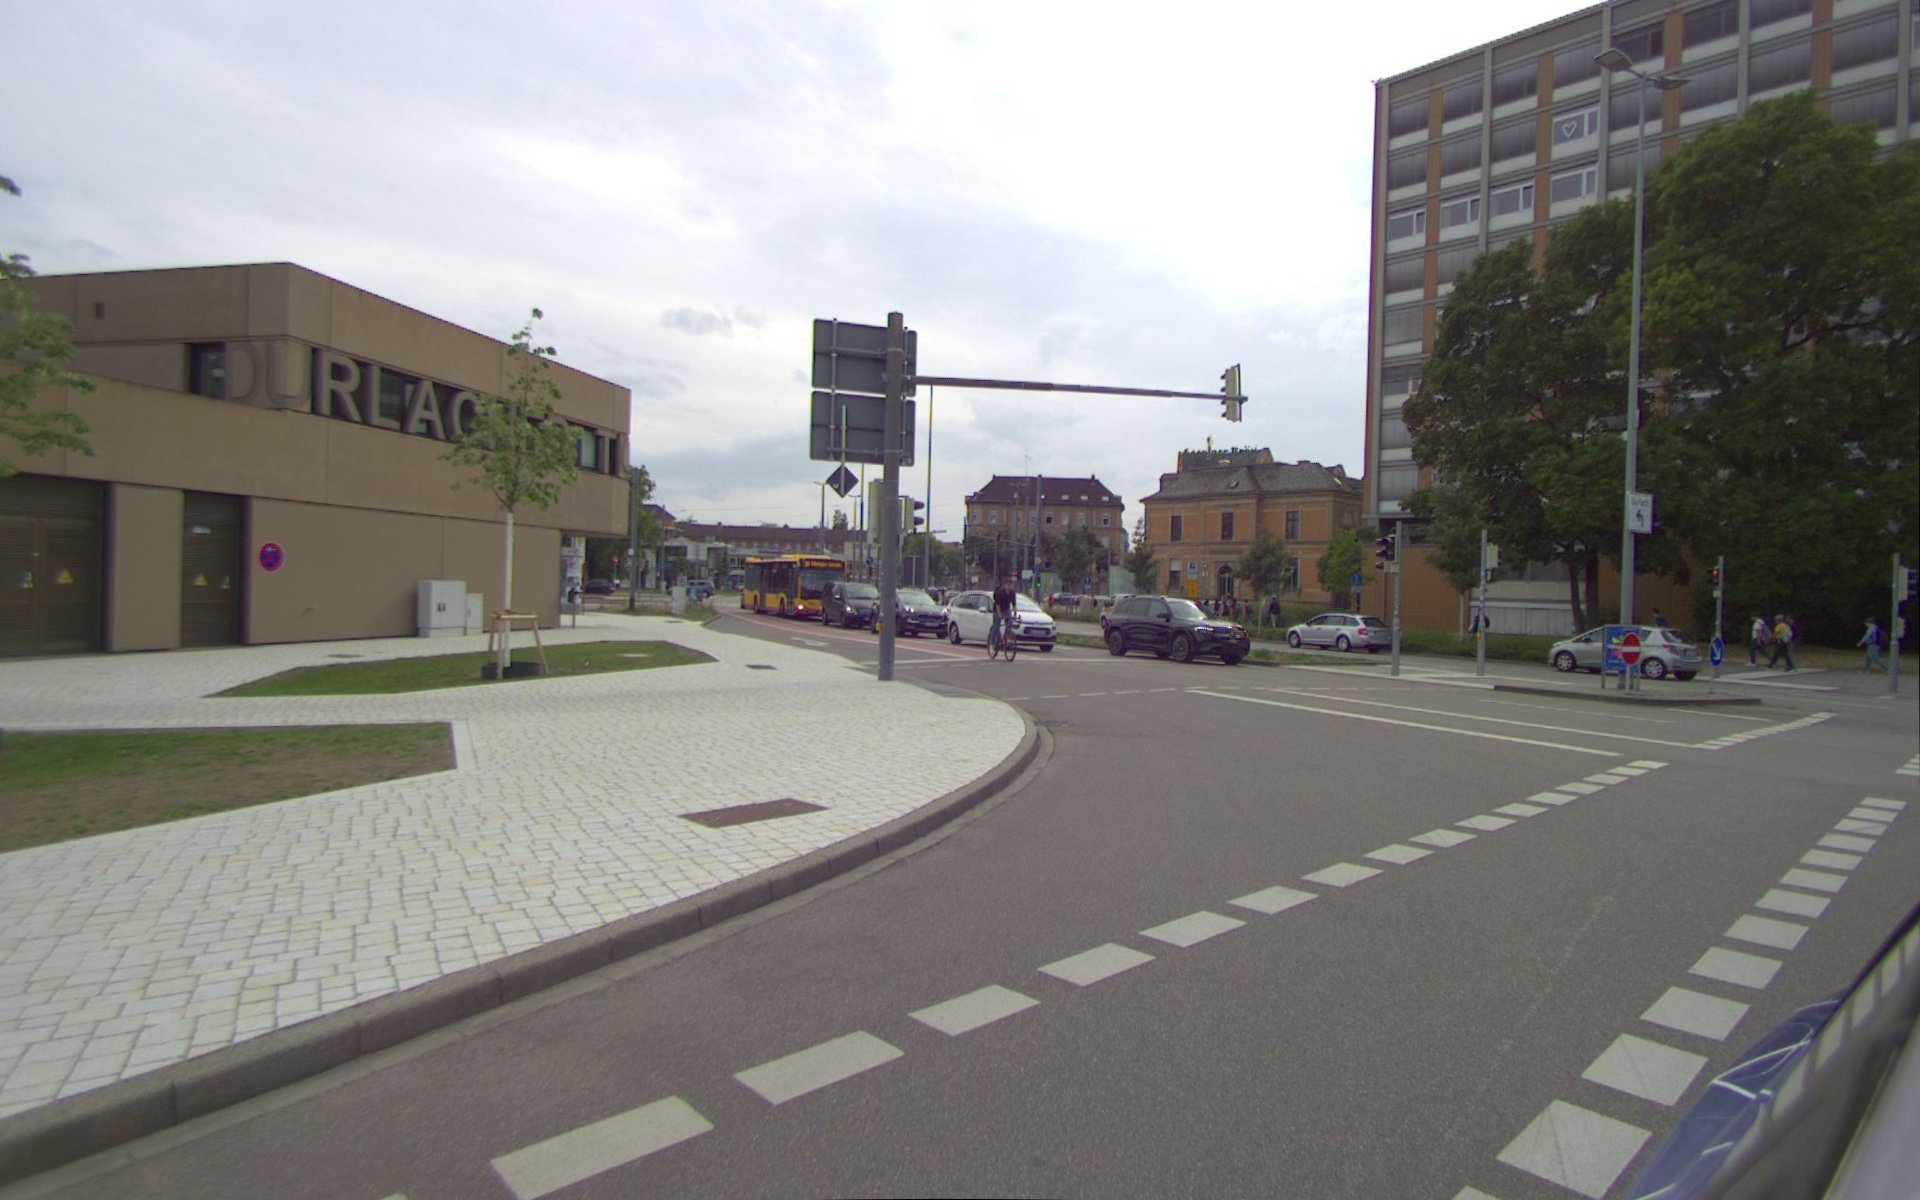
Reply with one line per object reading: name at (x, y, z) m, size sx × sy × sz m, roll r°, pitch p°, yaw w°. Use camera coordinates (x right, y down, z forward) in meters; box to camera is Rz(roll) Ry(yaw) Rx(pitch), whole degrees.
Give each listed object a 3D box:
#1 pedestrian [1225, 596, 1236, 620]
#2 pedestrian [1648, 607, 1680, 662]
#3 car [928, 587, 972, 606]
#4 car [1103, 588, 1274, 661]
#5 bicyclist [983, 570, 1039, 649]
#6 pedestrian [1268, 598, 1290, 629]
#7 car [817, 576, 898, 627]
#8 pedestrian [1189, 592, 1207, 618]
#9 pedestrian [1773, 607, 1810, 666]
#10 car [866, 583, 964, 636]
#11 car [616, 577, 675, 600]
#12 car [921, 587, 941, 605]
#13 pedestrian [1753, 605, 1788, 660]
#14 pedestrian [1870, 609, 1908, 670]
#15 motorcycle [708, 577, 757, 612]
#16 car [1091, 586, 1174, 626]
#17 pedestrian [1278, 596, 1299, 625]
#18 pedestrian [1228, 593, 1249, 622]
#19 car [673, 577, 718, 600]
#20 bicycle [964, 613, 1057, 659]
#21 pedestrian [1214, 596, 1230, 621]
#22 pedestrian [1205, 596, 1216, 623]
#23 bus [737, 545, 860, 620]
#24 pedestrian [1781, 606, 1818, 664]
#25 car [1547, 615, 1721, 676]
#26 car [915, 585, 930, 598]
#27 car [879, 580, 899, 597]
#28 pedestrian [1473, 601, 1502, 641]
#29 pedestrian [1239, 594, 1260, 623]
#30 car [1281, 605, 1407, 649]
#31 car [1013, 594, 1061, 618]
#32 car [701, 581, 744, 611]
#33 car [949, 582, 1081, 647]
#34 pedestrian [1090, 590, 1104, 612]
pedestrian at (15.637, 0.477, 58.516) m, size 0.541 × 1.358 × 0.548 m, roll 0°, pitch 1°, yaw 9°
pedestrian at (24.247, 1.173, 34.842) m, size 0.628 × 1.876 × 0.708 m, roll 1°, pitch 0°, yaw -36°
car at (-0.977, -0.329, 101.043) m, size 3.926 × 1.705 × 1.999 m, roll 3°, pitch -1°, yaw -38°
car at (5.832, 0.577, 26.475) m, size 1.958 × 1.672 × 4.520 m, roll 3°, pitch -1°, yaw -25°
bicyclist at (1.137, 0.212, 22.701) m, size 0.852 × 1.690 × 0.882 m, roll 3°, pitch -1°, yaw -30°
pedestrian at (16.838, 0.708, 53.471) m, size 0.764 × 1.593 × 0.814 m, roll 0°, pitch 1°, yaw -17°
car at (-4.331, 0.037, 42.091) m, size 1.958 × 1.923 × 4.298 m, roll 3°, pitch -1°, yaw -25°
pedestrian at (14.667, 0.325, 62.351) m, size 0.764 × 1.593 × 0.814 m, roll 0°, pitch 1°, yaw -13°
pedestrian at (25.137, 1.096, 30.605) m, size 0.628 × 1.732 × 0.708 m, roll 1°, pitch 0°, yaw -36°
car at (-1.673, 0.298, 35.945) m, size 1.958 × 1.672 × 4.298 m, roll 3°, pitch -1°, yaw -25°
car at (-25.220, -0.926, 81.210) m, size 3.956 × 1.594 × 1.997 m, roll 4°, pitch -1°, yaw -41°
car at (-3.480, -0.483, 120.999) m, size 1.960 × 2.039 × 4.003 m, roll 3°, pitch -1°, yaw -5°
pedestrian at (25.944, 1.035, 32.407) m, size 0.628 × 1.732 × 0.708 m, roll 2°, pitch 0°, yaw -36°
pedestrian at (27.262, 1.155, 29.698) m, size 0.628 × 1.732 × 0.708 m, roll -1°, pitch 1°, yaw -36°
motorcycle at (-14.211, -0.341, 63.094) m, size 1.959 × 2.039 × 4.006 m, roll 3°, pitch -1°, yaw -27°
car at (9.156, 0.279, 54.318) m, size 1.787 × 1.984 × 5.215 m, roll 3°, pitch -1°, yaw -23°
pedestrian at (18.435, 0.565, 56.815) m, size 0.764 × 1.593 × 0.814 m, roll 0°, pitch 1°, yaw -13°
pedestrian at (15.236, 0.407, 55.384) m, size 0.764 × 1.593 × 0.814 m, roll 0°, pitch 1°, yaw -17°
car at (-26.470, -1.111, 101.338) m, size 3.922 × 2.039 × 2.001 m, roll 3°, pitch -1°, yaw -3°
bicycle at (1.091, 0.791, 22.713) m, size 0.847 × 0.888 × 2.522 m, roll 3°, pitch -1°, yaw -29°
pedestrian at (17.283, 0.562, 66.746) m, size 0.764 × 1.593 × 0.814 m, roll 0°, pitch 1°, yaw -13°
pedestrian at (14.967, 0.564, 60.473) m, size 0.546 × 1.555 × 0.543 m, roll 1°, pitch 1°, yaw 31°
bus at (-8.618, -0.838, 52.120) m, size 3.092 × 3.296 × 12.436 m, roll 3°, pitch -1°, yaw -23°
pedestrian at (25.747, 1.067, 31.029) m, size 0.628 × 1.733 × 0.708 m, roll 4°, pitch -1°, yaw -36°
car at (19.435, 1.278, 29.356) m, size 1.637 × 1.508 × 3.882 m, roll 3°, pitch -1°, yaw -26°
car at (-5.175, -1.221, 140.839) m, size 1.803 × 1.635 × 3.549 m, roll 3°, pitch -1°, yaw -6°
car at (-8.852, -1.470, 126.183) m, size 1.959 × 1.948 × 4.006 m, roll 3°, pitch -1°, yaw -9°
pedestrian at (21.838, 0.865, 41.892) m, size 0.766 × 1.593 × 0.812 m, roll 0°, pitch 1°, yaw -36°
pedestrian at (16.151, 0.466, 56.461) m, size 0.764 × 1.593 × 0.814 m, roll 0°, pitch 1°, yaw -17°
car at (14.838, 1.008, 39.380) m, size 1.787 × 1.493 × 4.536 m, roll 3°, pitch -1°, yaw -26°
car at (5.298, 0.404, 70.143) m, size 1.824 × 1.552 × 4.010 m, roll 3°, pitch -1°, yaw -20°
car at (-16.388, -0.273, 69.682) m, size 1.958 × 1.923 × 4.298 m, roll 3°, pitch -1°, yaw -25°
car at (1.490, 0.386, 29.333) m, size 1.958 × 1.672 × 4.298 m, roll 3°, pitch -1°, yaw -25°
pedestrian at (9.760, 0.057, 72.038) m, size 0.764 × 1.593 × 0.814 m, roll 0°, pitch 1°, yaw -13°
